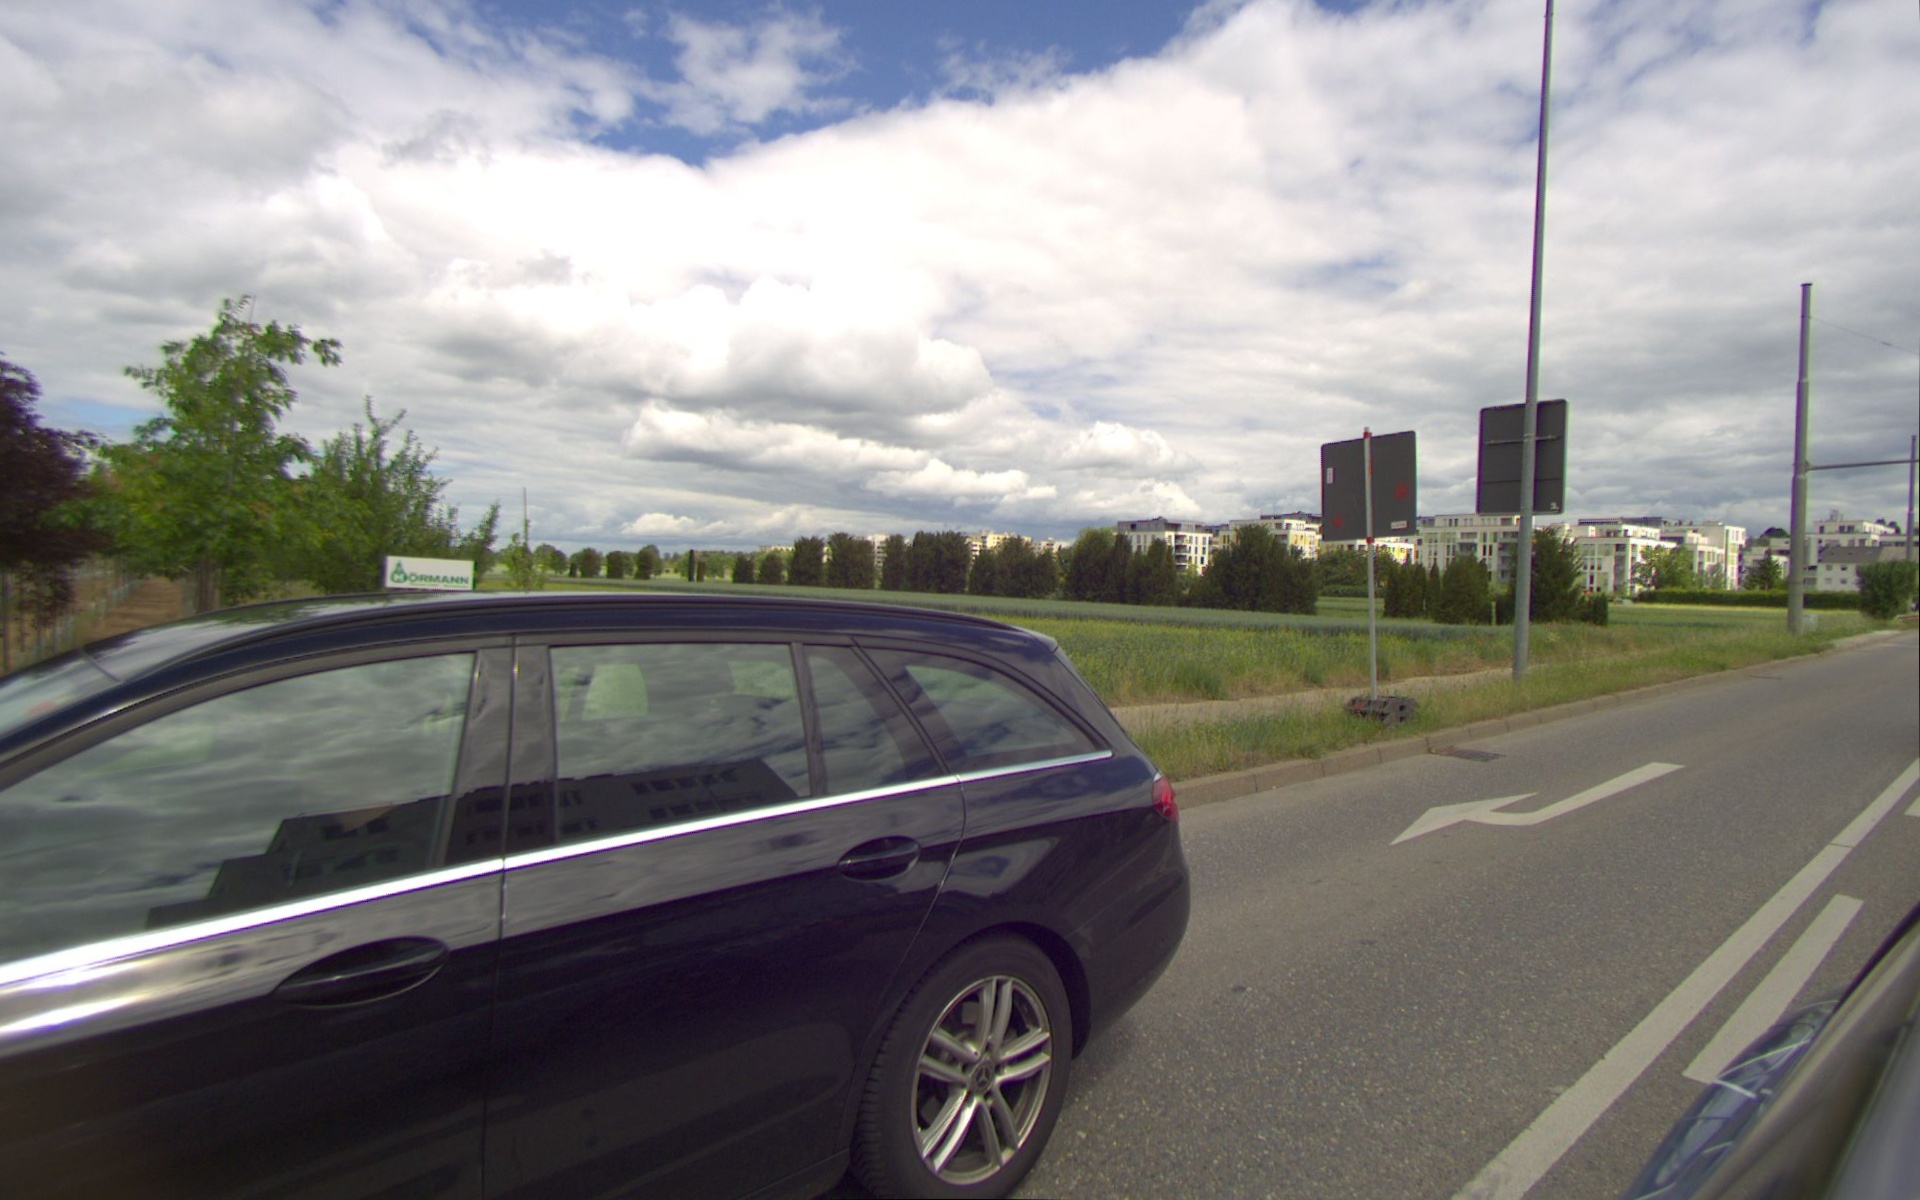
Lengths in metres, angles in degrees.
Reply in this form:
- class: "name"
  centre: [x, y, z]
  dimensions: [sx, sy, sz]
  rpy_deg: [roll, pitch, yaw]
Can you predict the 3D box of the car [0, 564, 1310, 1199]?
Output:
- class: "car"
  centre: [-1.359, 0.674, 2.289]
  dimensions: [5.112, 1.458, 1.875]
  rpy_deg: [0, 2, -43]
